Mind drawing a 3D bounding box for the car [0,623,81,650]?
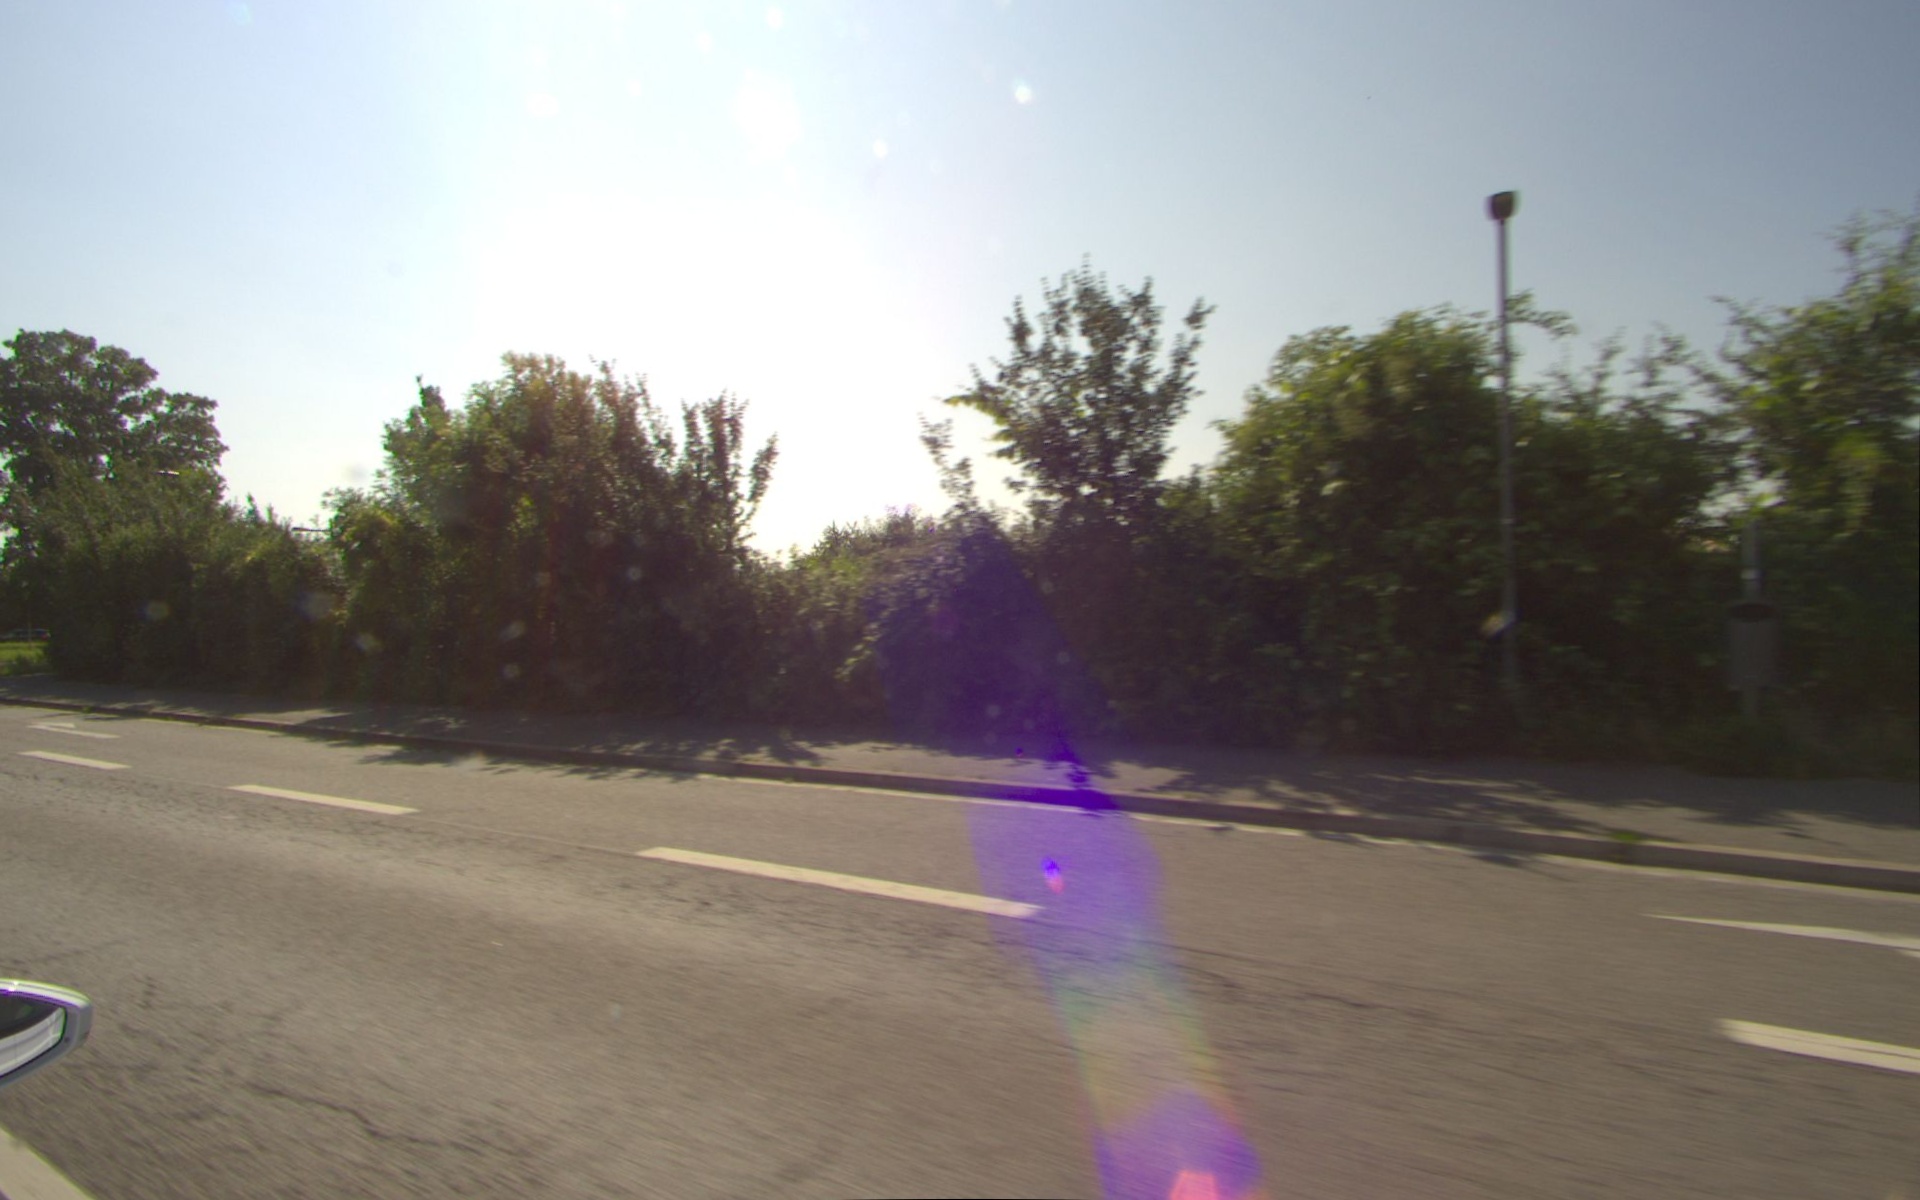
[{"bbox_3d":[-58.916,2.327,63.577,4.383,1.655,1.887,-1,-2,-7],"label":"car"}]
